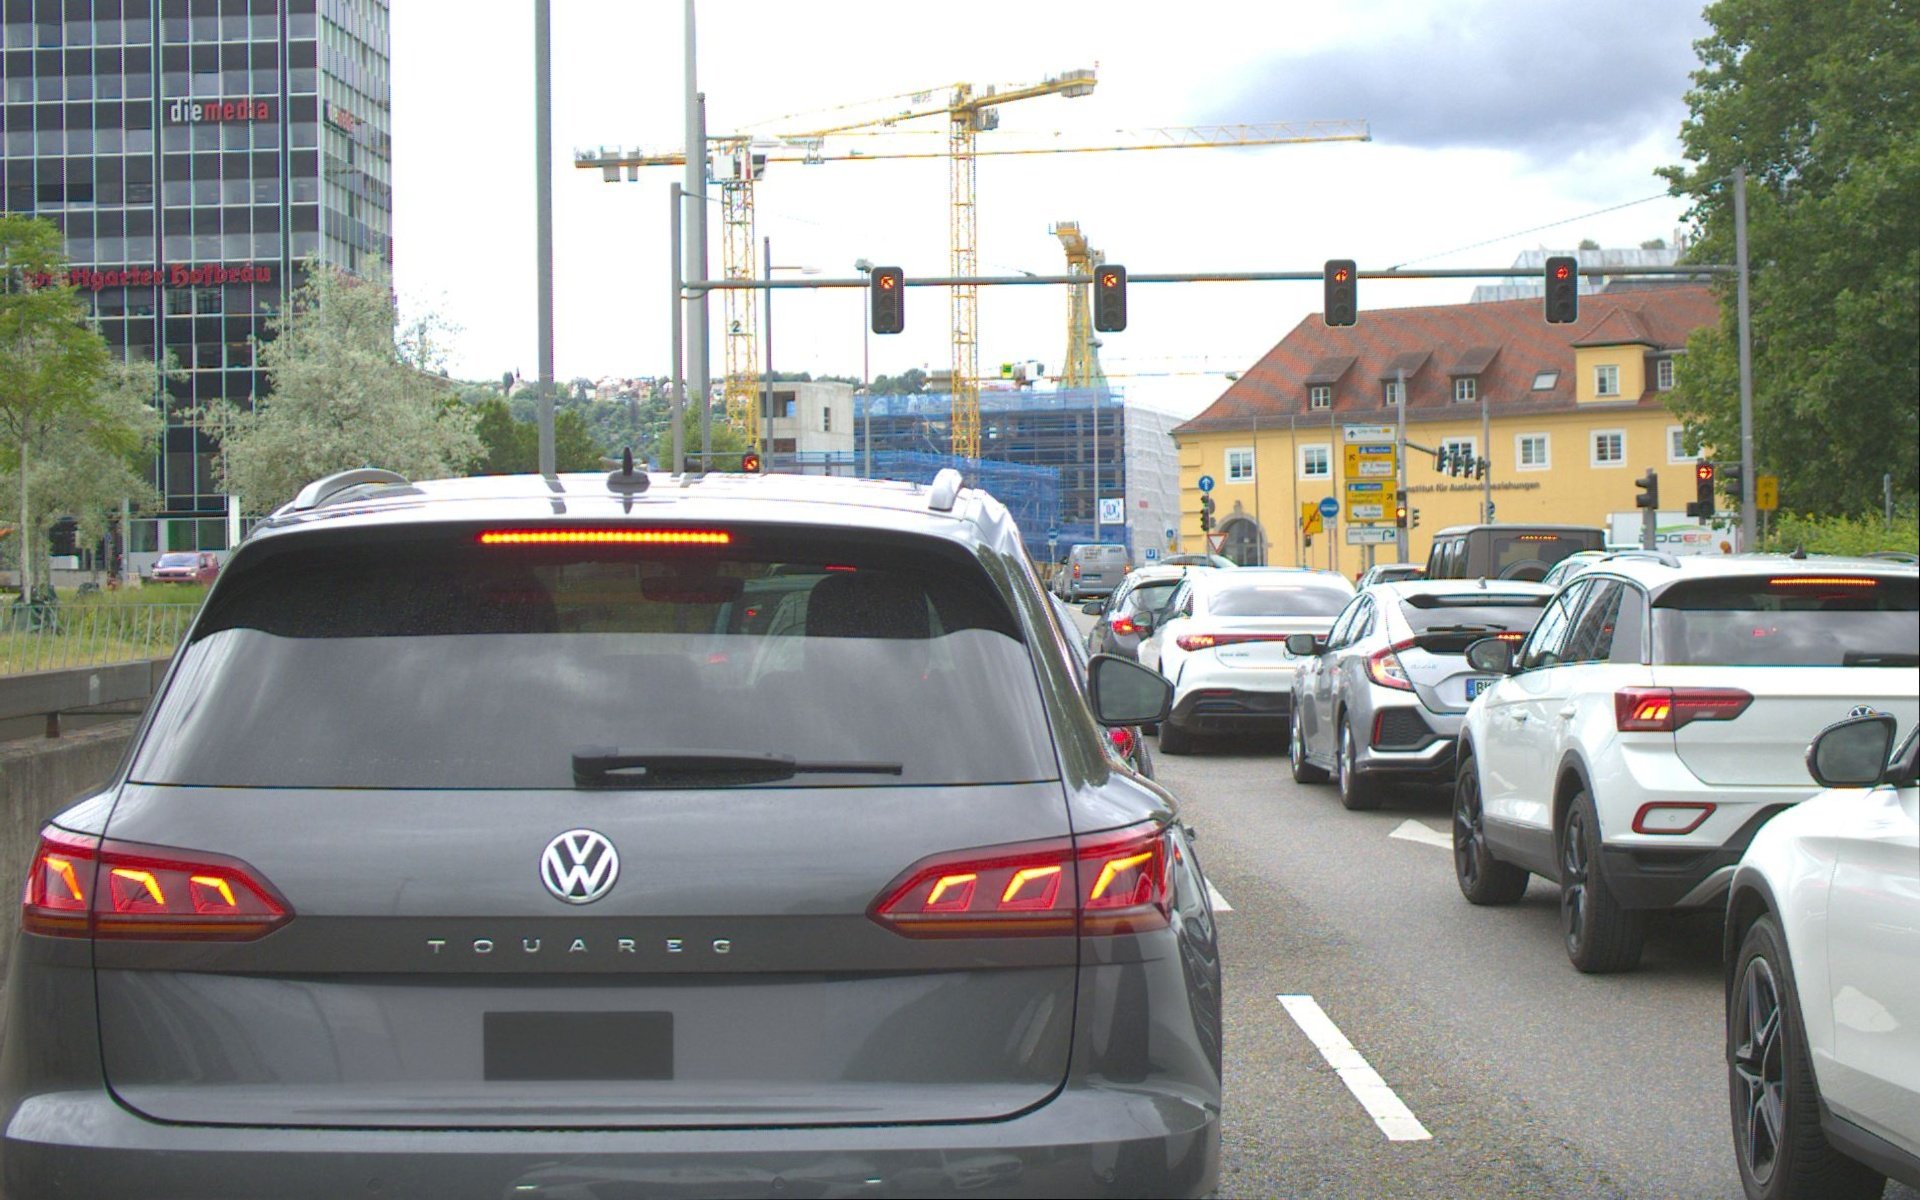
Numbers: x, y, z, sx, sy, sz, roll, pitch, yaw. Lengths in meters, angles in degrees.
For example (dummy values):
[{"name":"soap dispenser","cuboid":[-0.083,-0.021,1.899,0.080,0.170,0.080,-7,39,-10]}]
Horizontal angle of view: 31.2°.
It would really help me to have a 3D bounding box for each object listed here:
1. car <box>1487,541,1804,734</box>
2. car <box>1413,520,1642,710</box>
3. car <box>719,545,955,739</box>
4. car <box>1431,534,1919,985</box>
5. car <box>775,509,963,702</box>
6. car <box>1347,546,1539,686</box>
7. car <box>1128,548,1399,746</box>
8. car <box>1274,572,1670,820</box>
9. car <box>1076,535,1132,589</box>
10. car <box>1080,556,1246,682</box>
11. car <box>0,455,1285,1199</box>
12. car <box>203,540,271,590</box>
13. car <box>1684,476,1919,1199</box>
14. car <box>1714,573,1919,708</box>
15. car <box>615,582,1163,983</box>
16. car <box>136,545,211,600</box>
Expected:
[{"name":"car","cuboid":[6.331,0.291,32.250,1.993,1.634,4.305,0,2,-2]},{"name":"car","cuboid":[6.390,0.156,39.112,1.910,2.007,4.012,1,0,0]},{"name":"car","cuboid":[-1.069,0.330,31.025,1.951,1.594,3.931,1,1,-1]},{"name":"car","cuboid":[3.178,0.546,14.078,1.926,1.545,4.489,0,0,1]},{"name":"car","cuboid":[-1.000,0.035,38.558,1.951,2.011,3.931,1,1,-1]},{"name":"car","cuboid":[6.225,0.188,44.692,1.910,1.691,4.012,1,0,0]},{"name":"car","cuboid":[2.466,0.363,28.923,1.926,1.524,4.489,0,0,1]},{"name":"car","cuboid":[3.176,0.555,22.199,1.926,1.427,4.489,0,0,1]},{"name":"car","cuboid":[4.652,-1.226,111.443,1.619,1.622,4.000,1,-1,0]},{"name":"car","cuboid":[2.552,0.228,44.031,1.926,1.524,4.047,0,0,1]},{"name":"car","cuboid":[-0.566,0.605,6.660,1.951,1.646,4.000,0,1,-1]},{"name":"car","cuboid":[-31.343,-1.539,149.131,1.993,2.006,4.692,0,2,-1]},{"name":"car","cuboid":[2.720,0.598,6.204,1.926,1.648,4.490,0,1,1]},{"name":"car","cuboid":[10.109,0.468,40.106,1.932,1.455,4.526,1,0,5]},{"name":"car","cuboid":[-0.285,0.649,14.398,1.951,1.379,3.931,1,1,-1]},{"name":"car","cuboid":[-30.858,-1.107,134.969,1.993,2.006,4.692,0,2,-2]}]
